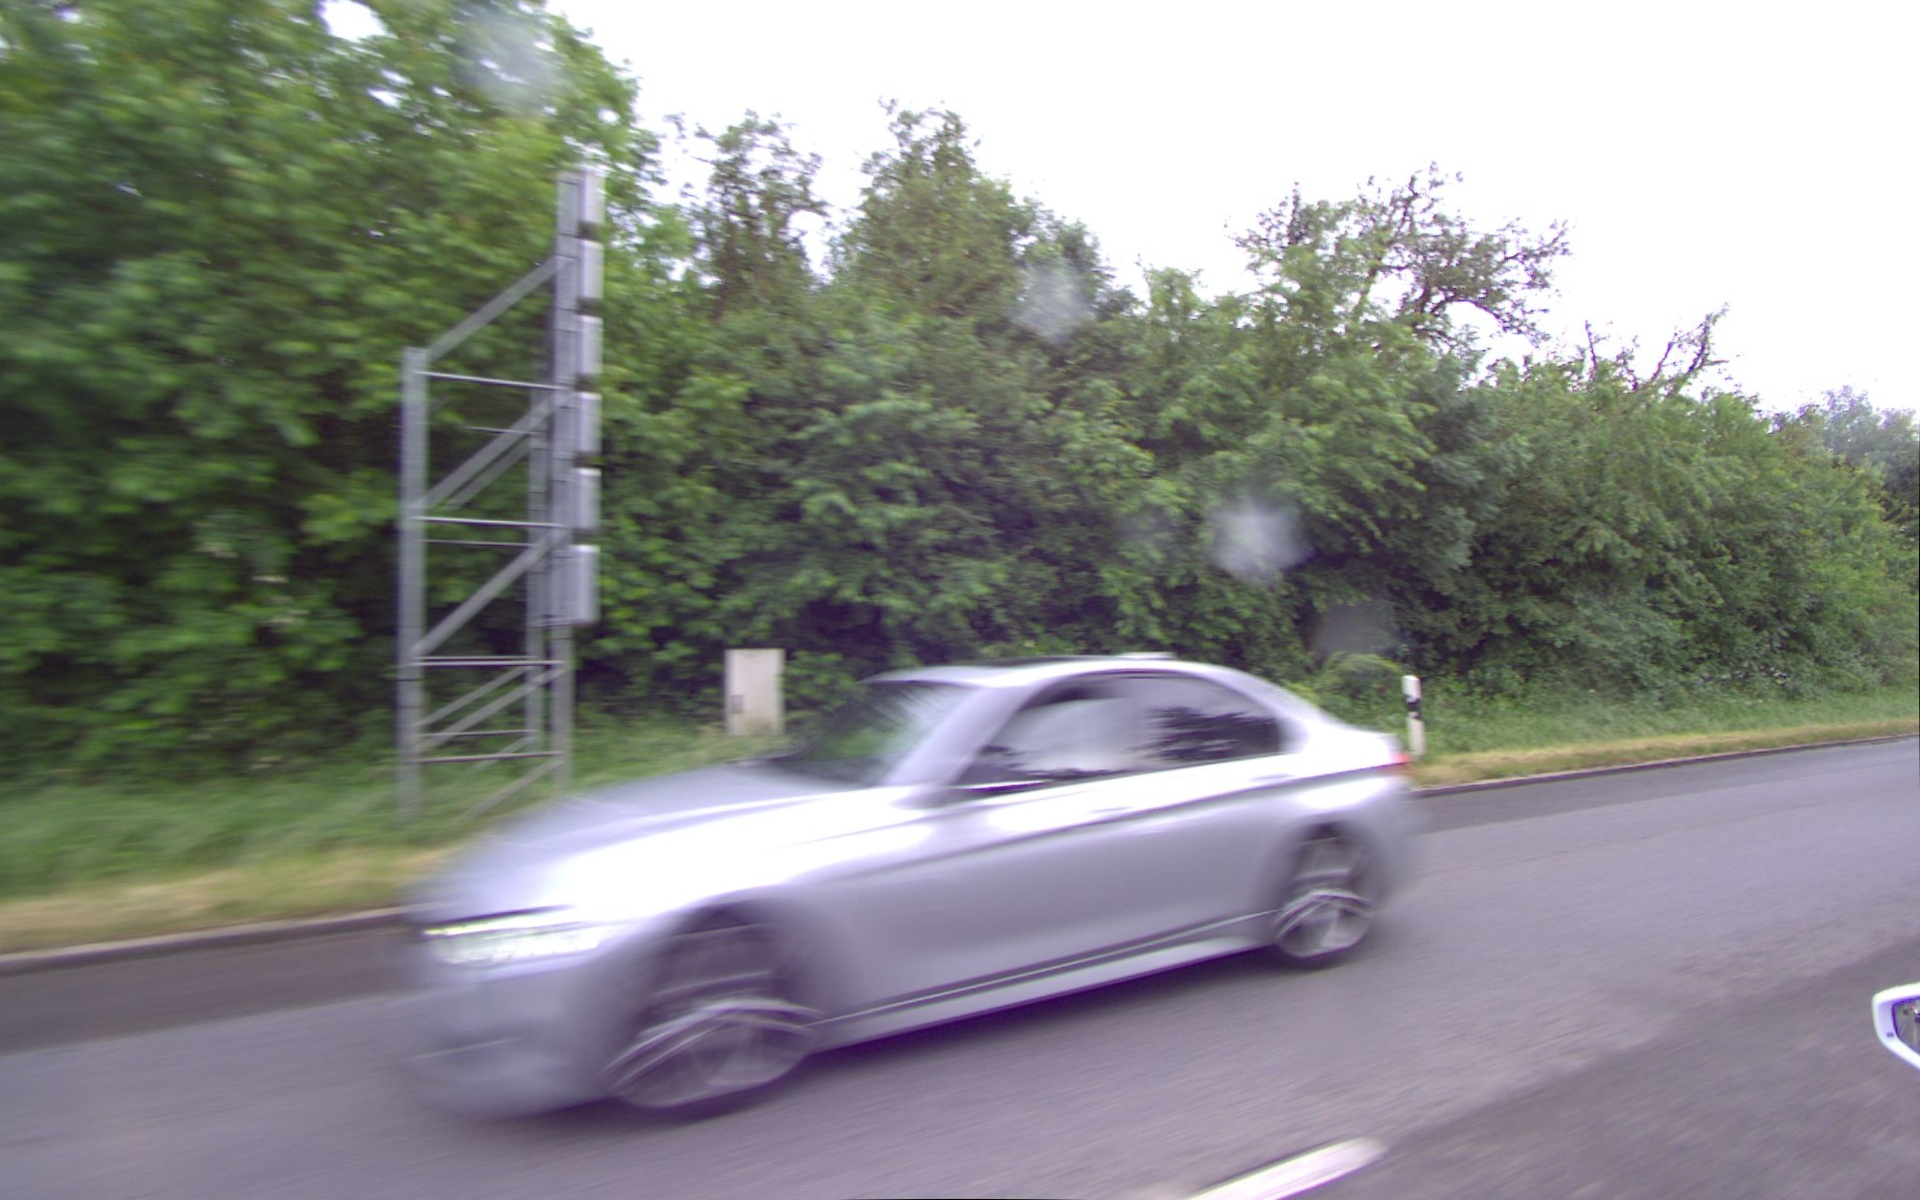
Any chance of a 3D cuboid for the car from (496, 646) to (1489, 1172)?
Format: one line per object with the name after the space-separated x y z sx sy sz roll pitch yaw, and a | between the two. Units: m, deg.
0.314 0.931 4.686 4.332 1.372 1.881 1 -2 -31 | car
